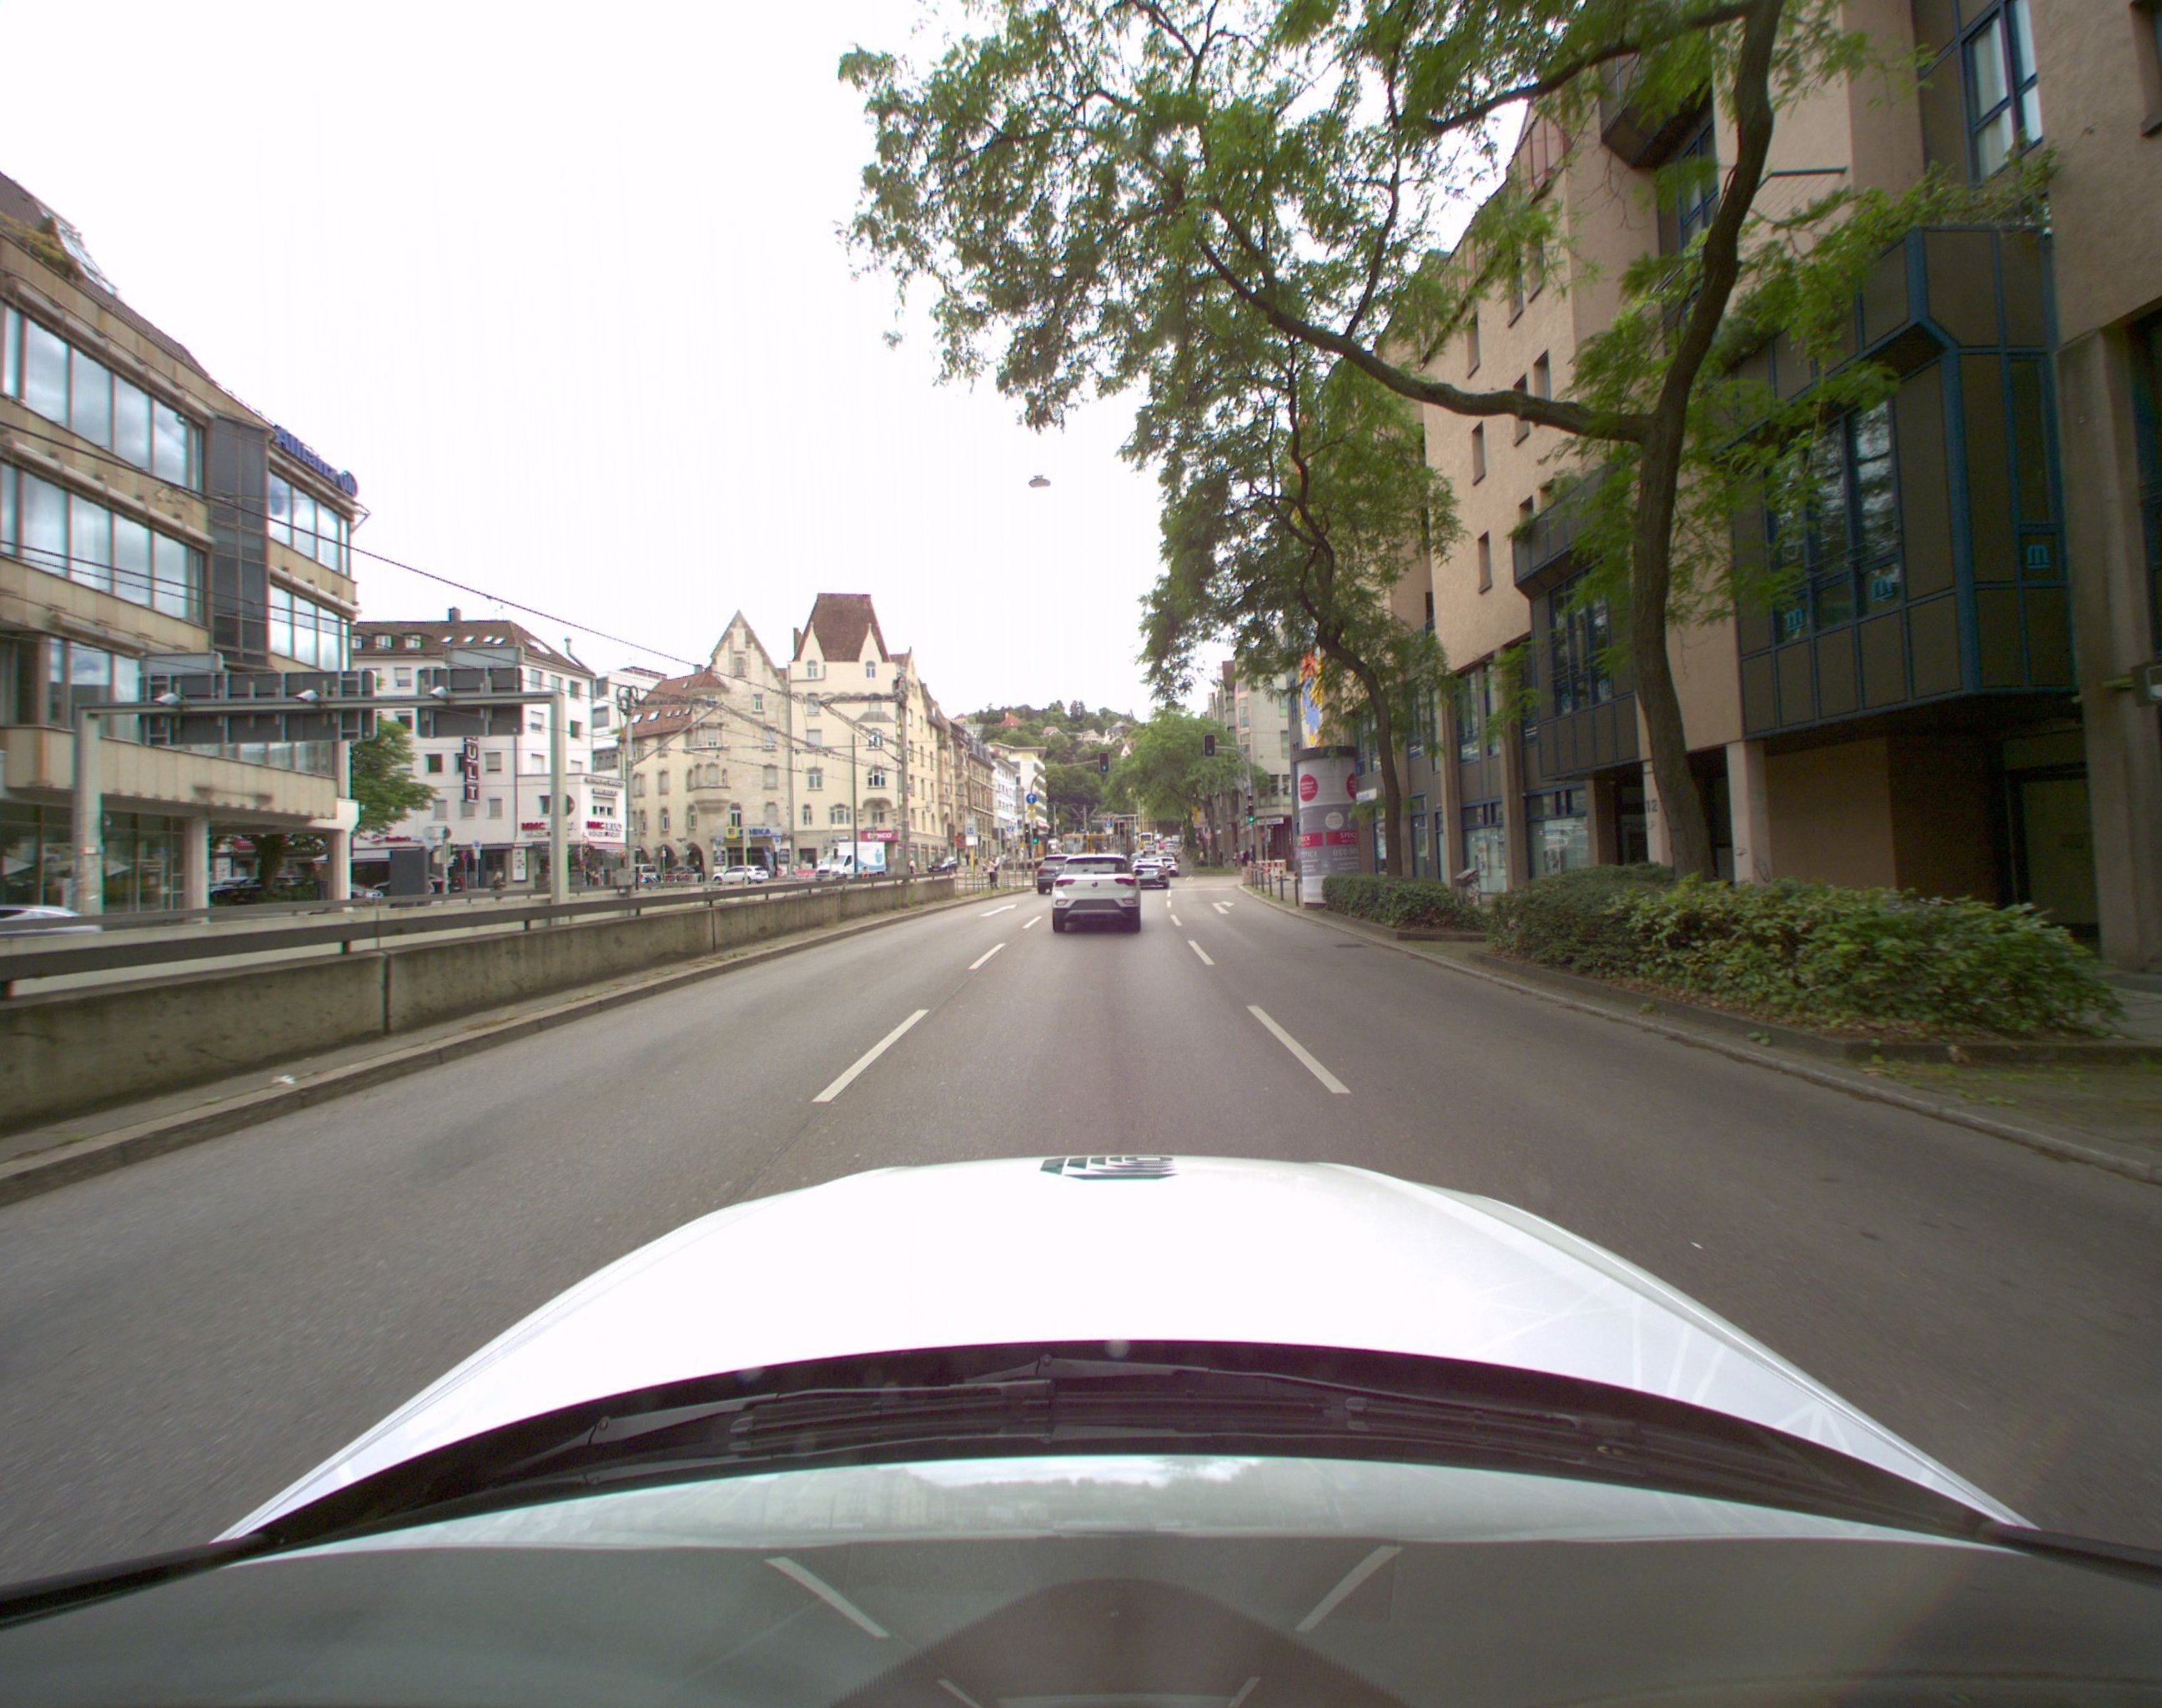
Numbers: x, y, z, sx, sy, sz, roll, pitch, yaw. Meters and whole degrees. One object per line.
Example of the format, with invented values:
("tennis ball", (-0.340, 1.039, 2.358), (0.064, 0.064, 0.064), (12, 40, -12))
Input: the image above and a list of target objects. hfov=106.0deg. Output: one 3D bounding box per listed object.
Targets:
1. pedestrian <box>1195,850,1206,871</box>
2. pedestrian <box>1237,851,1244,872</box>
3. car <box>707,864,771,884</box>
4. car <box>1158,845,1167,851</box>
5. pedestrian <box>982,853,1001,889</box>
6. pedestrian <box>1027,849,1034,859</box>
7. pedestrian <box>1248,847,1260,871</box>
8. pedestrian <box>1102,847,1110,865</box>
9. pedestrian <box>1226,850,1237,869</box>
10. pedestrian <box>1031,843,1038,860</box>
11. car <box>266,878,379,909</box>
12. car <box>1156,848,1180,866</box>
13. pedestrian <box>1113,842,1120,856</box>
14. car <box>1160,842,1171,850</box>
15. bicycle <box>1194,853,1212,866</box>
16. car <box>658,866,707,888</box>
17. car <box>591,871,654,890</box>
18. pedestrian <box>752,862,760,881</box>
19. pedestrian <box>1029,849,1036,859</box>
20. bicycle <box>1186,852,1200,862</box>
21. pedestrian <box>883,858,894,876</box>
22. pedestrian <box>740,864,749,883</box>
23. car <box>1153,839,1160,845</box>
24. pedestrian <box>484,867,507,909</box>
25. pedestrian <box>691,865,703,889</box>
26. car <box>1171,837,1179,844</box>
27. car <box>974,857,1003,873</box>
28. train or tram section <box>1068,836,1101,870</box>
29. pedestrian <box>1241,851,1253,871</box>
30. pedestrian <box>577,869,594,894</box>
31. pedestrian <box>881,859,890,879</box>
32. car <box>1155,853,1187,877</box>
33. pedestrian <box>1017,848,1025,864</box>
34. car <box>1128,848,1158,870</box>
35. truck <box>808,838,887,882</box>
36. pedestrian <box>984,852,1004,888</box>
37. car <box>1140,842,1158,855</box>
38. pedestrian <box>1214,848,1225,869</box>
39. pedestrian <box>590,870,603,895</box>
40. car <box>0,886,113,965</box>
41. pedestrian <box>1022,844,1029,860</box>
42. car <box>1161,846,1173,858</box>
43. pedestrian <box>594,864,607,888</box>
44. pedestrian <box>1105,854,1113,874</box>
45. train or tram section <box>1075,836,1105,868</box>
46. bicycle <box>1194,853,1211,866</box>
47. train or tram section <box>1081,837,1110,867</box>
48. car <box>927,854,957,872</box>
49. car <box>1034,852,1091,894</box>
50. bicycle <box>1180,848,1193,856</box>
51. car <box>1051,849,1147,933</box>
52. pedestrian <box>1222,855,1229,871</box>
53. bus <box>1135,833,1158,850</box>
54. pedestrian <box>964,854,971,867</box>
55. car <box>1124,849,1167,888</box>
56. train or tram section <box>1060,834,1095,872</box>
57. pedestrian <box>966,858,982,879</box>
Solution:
("pedestrian", (10.717, 0.563, 72.868), (0.690, 1.777, 0.690), (-6, -1, 2))
("pedestrian", (13.468, 0.630, 68.802), (0.516, 1.789, 0.765), (-1, -1, 2))
("car", (-27.605, 1.628, 65.737), (4.470, 1.561, 1.760), (-1, -1, 11))
("car", (15.883, -1.208, 158.670), (1.574, 1.172, 3.684), (-1, -1, 6))
("pedestrian", (-4.341, 0.835, 39.402), (0.761, 1.721, 0.638), (-2, -1, 5))
("pedestrian", (-5.716, -0.001, 92.017), (0.632, 1.107, 0.691), (-2, 0, 6))
("pedestrian", (14.696, 0.423, 69.248), (0.832, 2.014, 0.765), (-1, -1, 2))
("pedestrian", (2.349, 0.175, 77.106), (0.682, 1.711, 0.713), (-2, 0, 6))
("pedestrian", (12.723, 0.473, 68.908), (0.832, 1.563, 0.765), (-1, -1, 2))
("pedestrian", (-5.073, -0.254, 88.686), (0.623, 1.762, 0.848), (-2, -1, 7))
("car", (-40.721, 2.107, 43.806), (3.986, 1.530, 1.944), (0, -1, -10))
("car", (10.191, 0.403, 95.519), (2.356, 2.014, 5.149), (-1, -1, 1))
("pedestrian", (4.333, -0.579, 99.416), (0.714, 1.731, 0.672), (-1, -1, 7))
("car", (18.329, -1.750, 176.550), (1.872, 1.684, 4.176), (-1, -1, 13))
("bicycle", (12.451, 0.581, 83.368), (1.703, 1.184, 0.448), (-4, 0, -2))
("car", (-34.814, 1.979, 71.188), (3.739, 1.684, 1.645), (-4, -1, 20))
("car", (-37.602, 2.180, 66.792), (4.466, 1.561, 1.761), (-1, -1, 15))
("pedestrian", (-31.071, 1.678, 77.929), (0.574, 1.780, 0.510), (-1, -1, -8))
("pedestrian", (-5.532, -0.017, 93.223), (0.632, 1.107, 0.691), (-2, 0, 6))
("bicycle", (13.549, 0.375, 98.659), (1.610, 1.128, 0.615), (-4, 0, 9))
("pedestrian", (-17.711, 1.201, 74.880), (0.667, 1.677, 0.695), (-2, -1, 24))
("pedestrian", (-31.884, 1.844, 77.223), (0.580, 1.780, 0.505), (-1, -1, -44))
("car", (18.772, -3.011, 203.224), (1.665, 1.561, 3.993), (-1, -1, 6))
("pedestrian", (-24.958, 1.443, 34.725), (0.507, 1.780, 0.578), (-2, -1, 8))
("pedestrian", (-28.841, 1.704, 61.136), (0.506, 1.780, 0.579), (-2, -1, 18))
("car", (22.351, -3.123, 193.509), (1.665, 1.561, 3.684), (-1, -1, 6))
("car", (-9.861, 1.150, 87.135), (1.646, 1.552, 4.549), (-2, 0, 11))
("train or tram section", (0.418, -0.135, 87.851), (2.820, 3.521, 5.763), (-1, 0, 7))
("pedestrian", (13.653, 0.573, 66.981), (0.756, 1.612, 0.621), (-3, 2, 17))
("pedestrian", (-35.302, 1.972, 58.040), (0.777, 1.705, 0.655), (-2, -1, 12))
("pedestrian", (-17.554, 1.324, 73.126), (0.505, 1.780, 0.580), (-2, -1, 20))
("car", (6.605, 0.784, 60.030), (1.879, 1.684, 4.160), (-1, -1, 0))
("pedestrian", (-6.217, 0.189, 84.887), (0.684, 1.711, 0.663), (-2, 0, 5))
("car", (6.030, 0.506, 78.432), (2.350, 2.014, 5.161), (-1, -1, 9))
("truck", (-17.378, 0.469, 61.269), (2.250, 3.076, 7.402), (-1, -1, 14))
("pedestrian", (-4.266, 0.768, 40.090), (0.788, 1.721, 0.774), (-2, -1, 6))
("car", (10.969, -0.892, 131.312), (2.350, 2.014, 5.161), (-1, -1, 9))
("pedestrian", (12.174, 0.409, 71.458), (0.718, 1.802, 0.835), (-4, 2, 2))
("pedestrian", (-34.852, 2.074, 58.626), (0.506, 1.780, 0.579), (-2, -1, 18))
("car", (-22.384, 1.479, 16.057), (1.658, 1.501, 4.044), (-2, 0, 2))
("pedestrian", (-6.027, -0.230, 88.760), (0.634, 1.711, 0.689), (-2, 0, -3))
("car", (13.472, -0.287, 127.252), (1.875, 1.684, 4.169), (-1, -1, 7))
("pedestrian", (-35.786, 1.662, 60.612), (0.506, 1.780, 0.601), (-2, -1, 18))
("pedestrian", (2.513, 0.863, 72.382), (0.632, 1.711, 0.873), (-2, 0, 6))
("train or tram section", (1.102, -0.219, 93.577), (2.820, 3.521, 5.763), (-1, 0, 7))
("bicycle", (12.503, 0.578, 83.841), (1.703, 1.184, 0.448), (-4, 0, -2))
("train or tram section", (1.814, -0.290, 99.328), (2.820, 3.521, 5.763), (-1, 0, 7))
("car", (-13.643, 0.861, 80.269), (1.665, 1.759, 4.790), (-1, -1, 6))
("car", (-0.726, 0.791, 35.121), (1.984, 1.636, 4.006), (-1, -1, 5))
("bicycle", (16.876, -0.272, 130.516), (1.866, 1.266, 0.768), (-1, -1, 17))
("car", (0.345, 0.725, 17.687), (1.832, 1.584, 4.155), (-1, -1, 0))
("pedestrian", (12.520, 0.795, 70.502), (0.469, 1.333, 0.520), (-1, -1, 2))
("bus", (13.517, -2.444, 167.406), (3.351, 3.065, 13.360), (-1, -1, 10))
("pedestrian", (-14.754, 0.851, 105.735), (0.632, 1.762, 0.837), (-1, -1, -36))
("car", (3.058, 0.662, 38.245), (1.875, 1.684, 4.167), (-1, -1, 6))
("train or tram section", (-0.263, -0.108, 82.113), (2.820, 3.678, 5.763), (-1, 0, 7))
("pedestrian", (-8.747, 1.188, 66.607), (0.866, 1.705, 0.817), (-2, -1, 35))
